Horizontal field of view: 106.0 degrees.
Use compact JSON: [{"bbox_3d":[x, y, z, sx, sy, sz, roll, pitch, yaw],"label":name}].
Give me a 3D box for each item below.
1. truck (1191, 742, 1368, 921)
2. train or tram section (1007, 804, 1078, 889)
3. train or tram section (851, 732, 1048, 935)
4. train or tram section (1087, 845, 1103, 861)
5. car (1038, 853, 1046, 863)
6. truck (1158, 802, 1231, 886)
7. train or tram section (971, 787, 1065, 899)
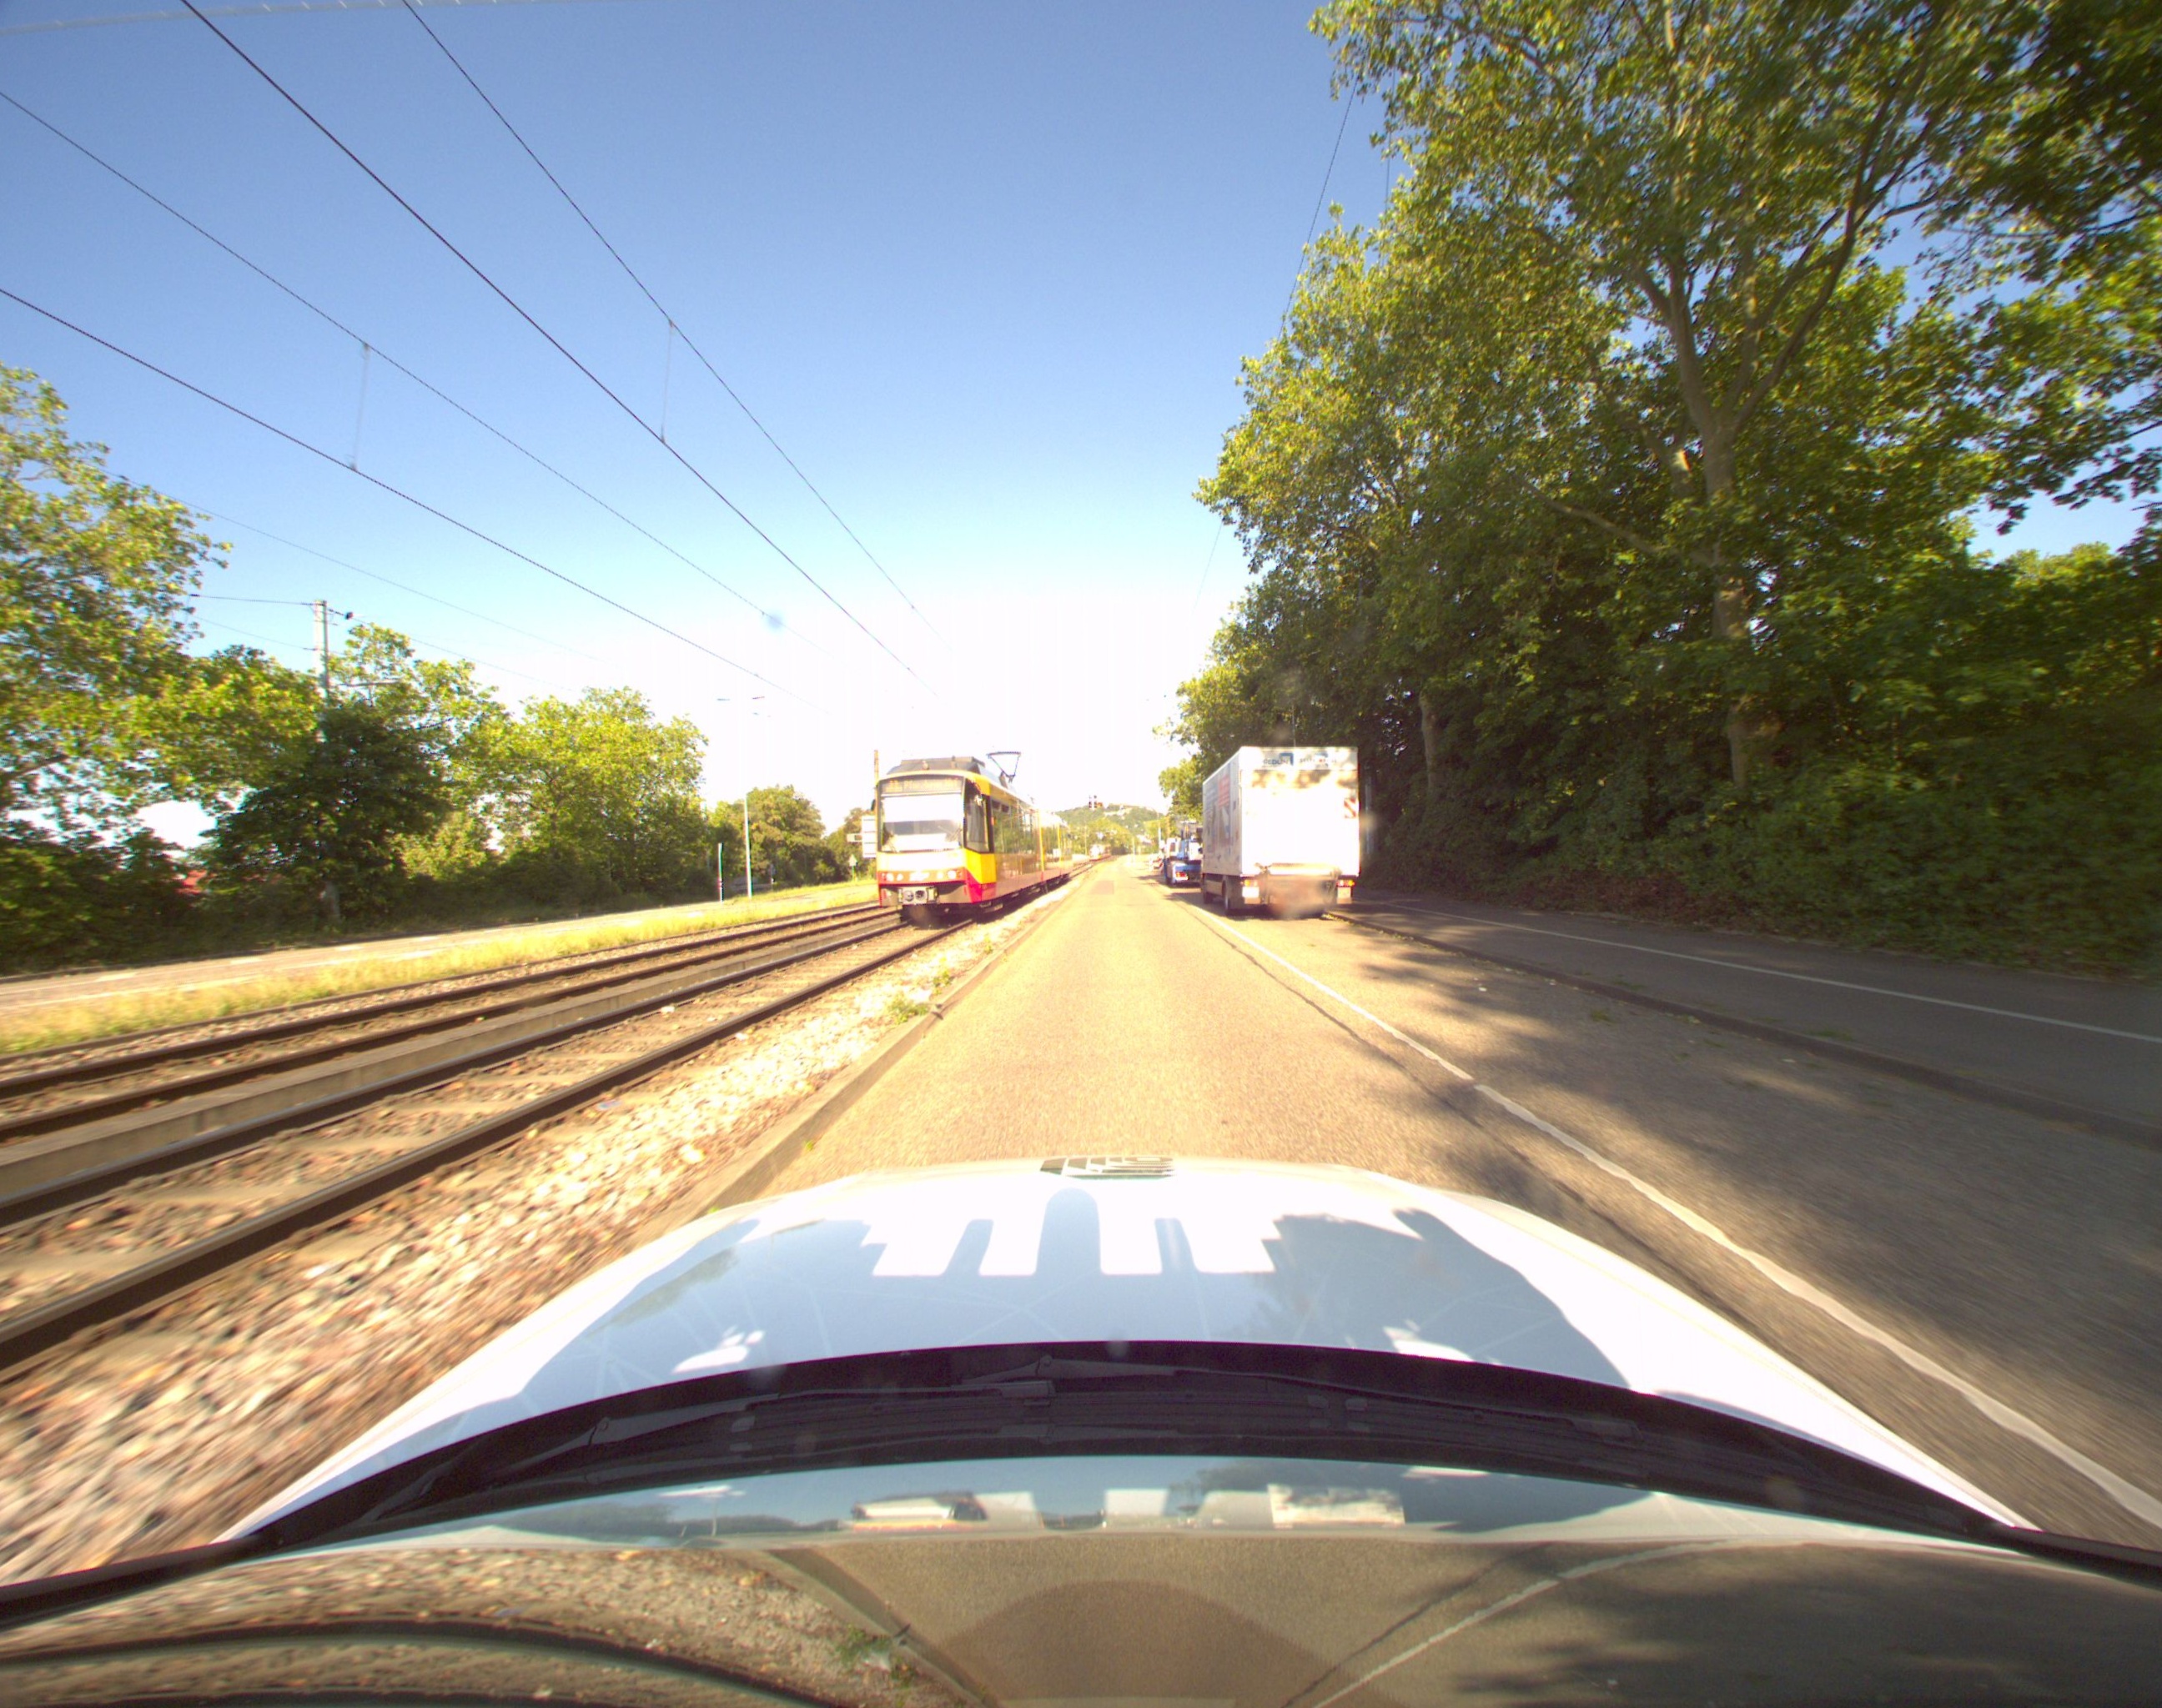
[{"bbox_3d":[4.884,-0.475,22.321,2.731,3.783,10.094,0,0,2],"label":"truck"},{"bbox_3d":[-1.947,-0.379,46.876,2.708,4.089,12.821,-3,0,3],"label":"train or tram section"},{"bbox_3d":[-3.034,-0.416,23.801,2.710,4.091,13.624,-3,0,3],"label":"train or tram section"},{"bbox_3d":[3.317,-0.256,192.100,2.631,3.567,10.850,-3,0,6],"label":"train or tram section"},{"bbox_3d":[-8.193,0.849,171.225,1.719,2.014,3.998,-1,-1,-1],"label":"car"},{"bbox_3d":[5.581,-0.435,41.591,2.706,3.783,9.766,0,0,2],"label":"truck"},{"bbox_3d":[-2.457,-0.414,35.535,2.684,4.089,9.917,-3,0,3],"label":"train or tram section"}]
